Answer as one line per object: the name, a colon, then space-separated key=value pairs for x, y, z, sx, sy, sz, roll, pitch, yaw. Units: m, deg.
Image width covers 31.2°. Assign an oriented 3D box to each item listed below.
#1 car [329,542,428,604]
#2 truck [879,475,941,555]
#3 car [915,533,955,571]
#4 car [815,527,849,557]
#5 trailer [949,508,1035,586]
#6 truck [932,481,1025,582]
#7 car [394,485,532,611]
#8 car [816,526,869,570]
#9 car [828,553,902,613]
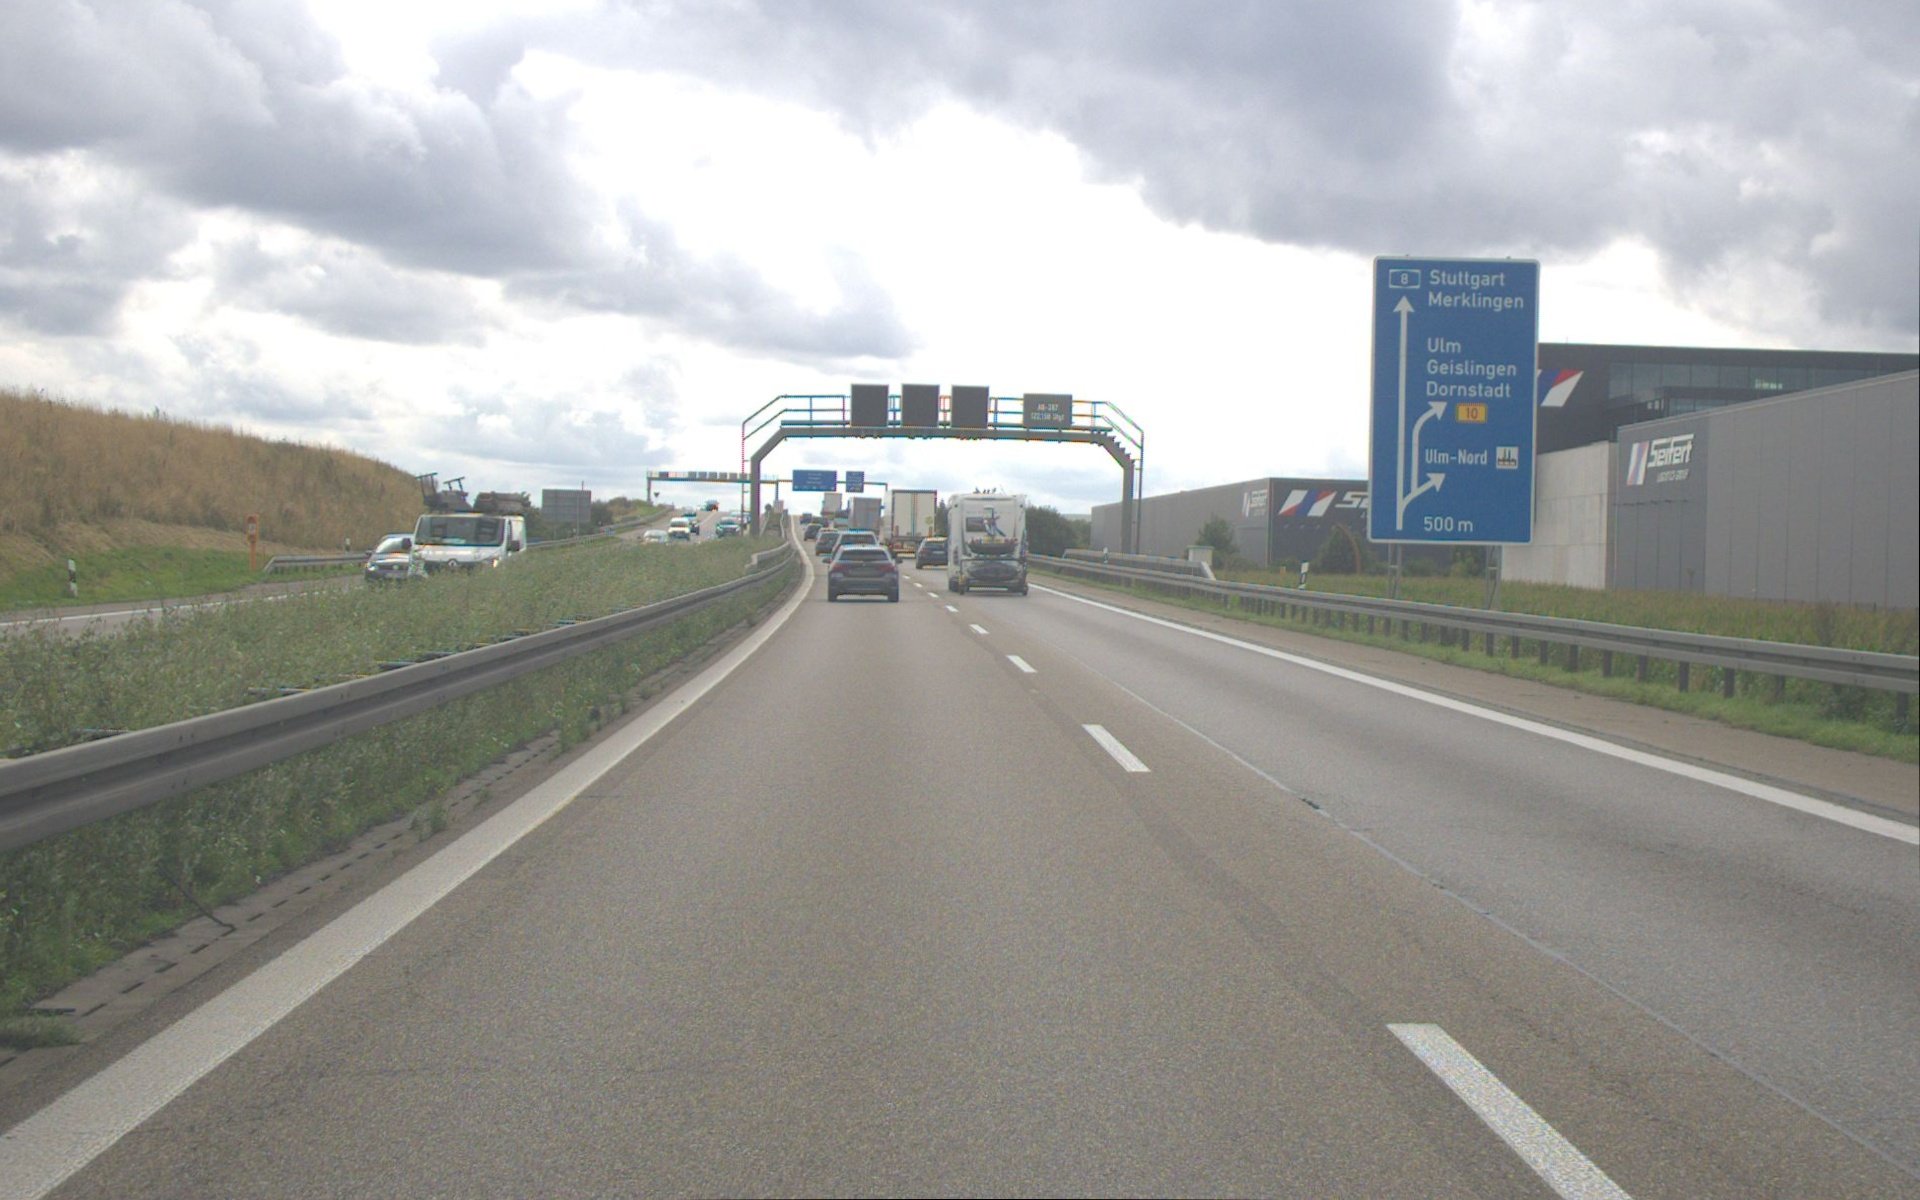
car: x=-14.276 y=-0.680 z=84.585 sx=1.772 sy=1.449 sz=4.000 roll=1 pitch=1 yaw=-1
truck: x=-2.956 y=-4.985 z=202.591 sx=3.339 sy=4.518 sz=8.018 roll=1 pitch=0 yaw=-2
car: x=-1.158 y=-2.189 z=157.736 sx=1.801 sy=1.679 sz=4.000 roll=1 pitch=1 yaw=-1
car: x=-7.818 y=-3.528 z=210.540 sx=1.943 sy=1.769 sz=3.696 roll=1 pitch=1 yaw=0
trailer: x=0.875 y=-1.495 z=97.601 sx=2.338 sy=2.129 sz=4.000 roll=1 pitch=1 yaw=0
truck: x=0.524 y=-2.049 z=104.359 sx=2.482 sy=2.940 sz=5.815 roll=1 pitch=1 yaw=-2
car: x=-9.773 y=-1.024 z=68.039 sx=1.993 sy=2.340 sz=5.871 roll=1 pitch=1 yaw=-2
car: x=-4.591 y=-2.035 z=134.793 sx=1.945 sy=1.679 sz=4.000 roll=1 pitch=1 yaw=0
car: x=-2.398 y=-0.435 z=87.623 sx=1.746 sy=1.448 sz=4.000 roll=1 pitch=1 yaw=0
